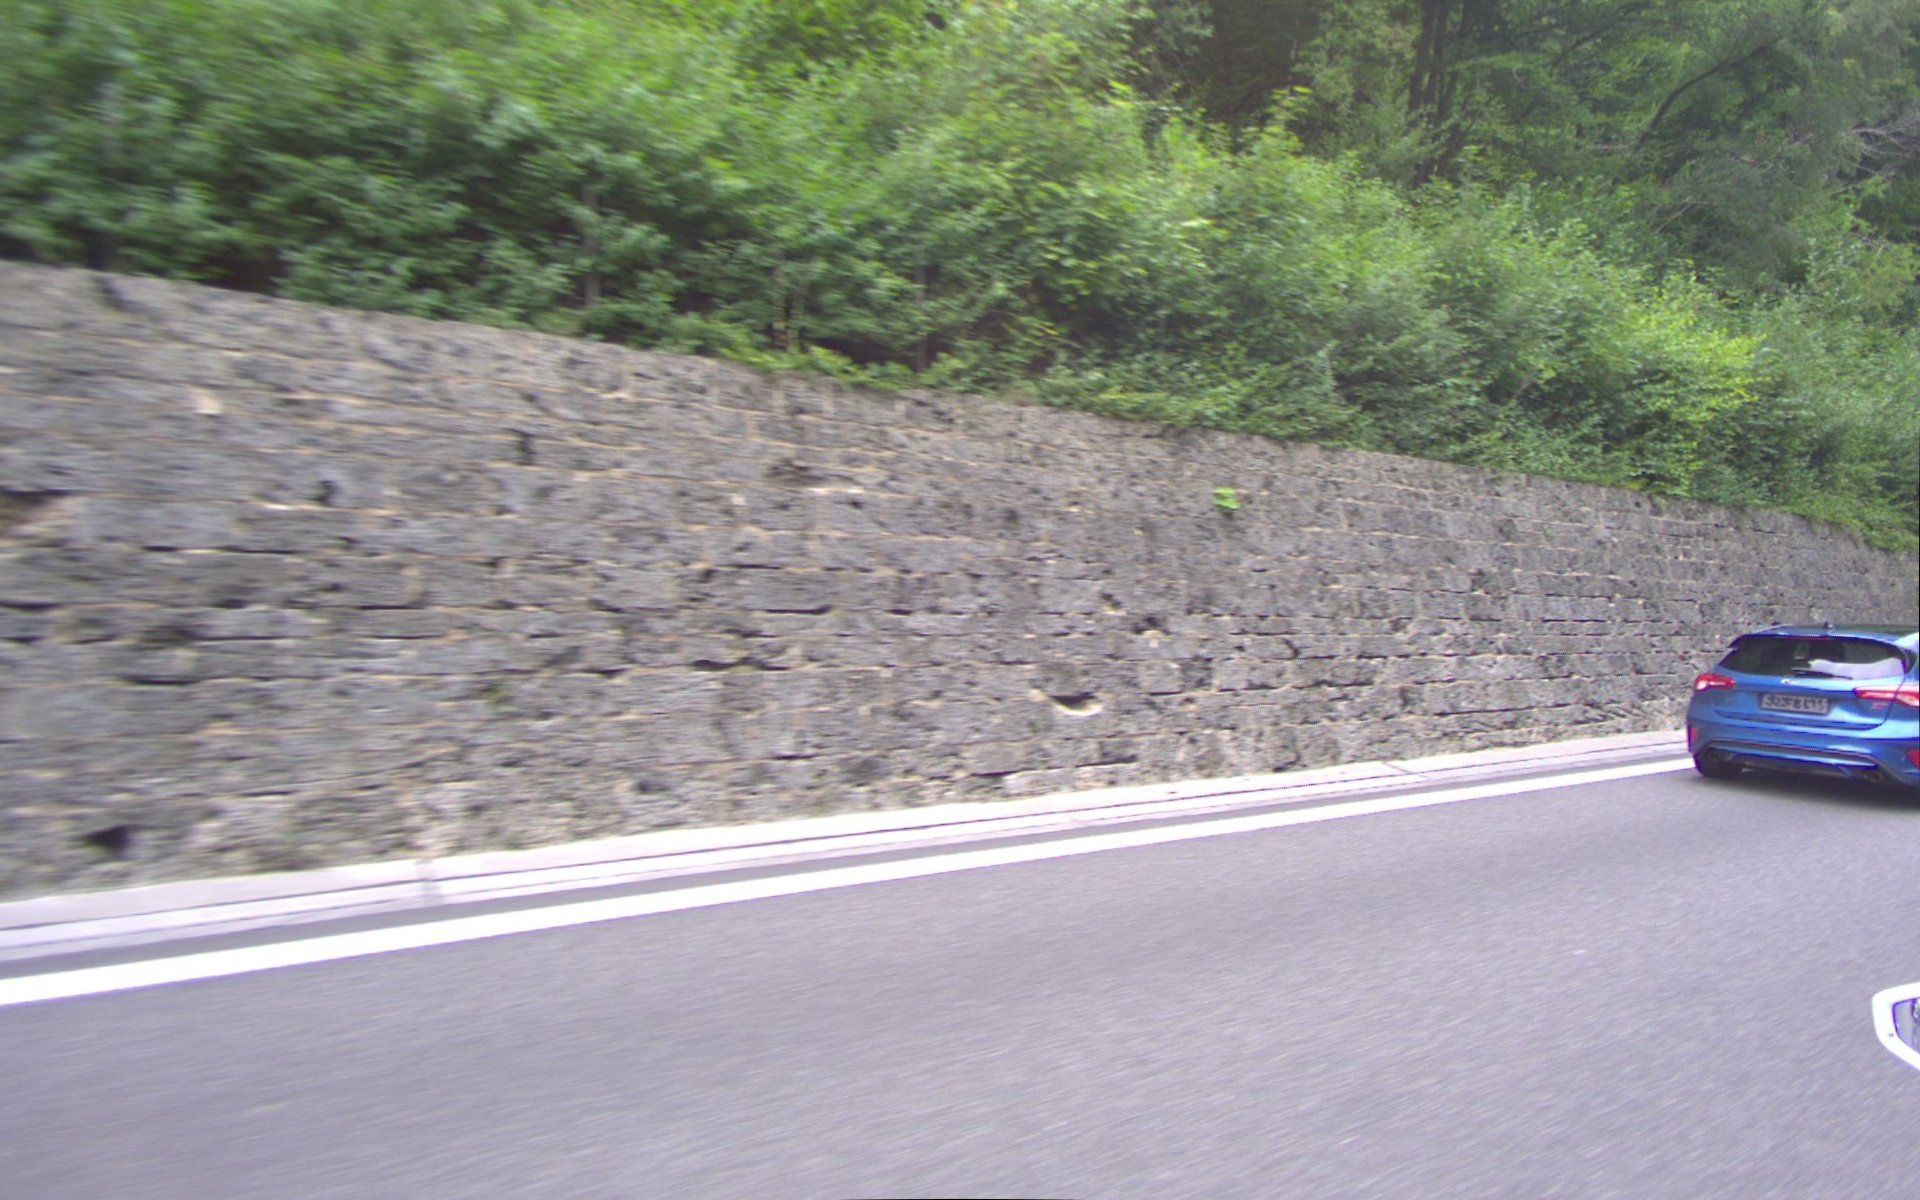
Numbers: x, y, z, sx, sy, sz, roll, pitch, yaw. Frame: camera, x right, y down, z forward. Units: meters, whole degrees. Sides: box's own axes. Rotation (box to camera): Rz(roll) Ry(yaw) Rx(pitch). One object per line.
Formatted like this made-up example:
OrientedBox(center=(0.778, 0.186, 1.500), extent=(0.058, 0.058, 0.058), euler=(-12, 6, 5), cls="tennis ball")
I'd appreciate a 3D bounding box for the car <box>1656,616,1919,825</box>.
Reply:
OrientedBox(center=(8.582, 0.949, 9.265), extent=(4.502, 1.488, 1.827), euler=(2, 0, -30), cls="car")
